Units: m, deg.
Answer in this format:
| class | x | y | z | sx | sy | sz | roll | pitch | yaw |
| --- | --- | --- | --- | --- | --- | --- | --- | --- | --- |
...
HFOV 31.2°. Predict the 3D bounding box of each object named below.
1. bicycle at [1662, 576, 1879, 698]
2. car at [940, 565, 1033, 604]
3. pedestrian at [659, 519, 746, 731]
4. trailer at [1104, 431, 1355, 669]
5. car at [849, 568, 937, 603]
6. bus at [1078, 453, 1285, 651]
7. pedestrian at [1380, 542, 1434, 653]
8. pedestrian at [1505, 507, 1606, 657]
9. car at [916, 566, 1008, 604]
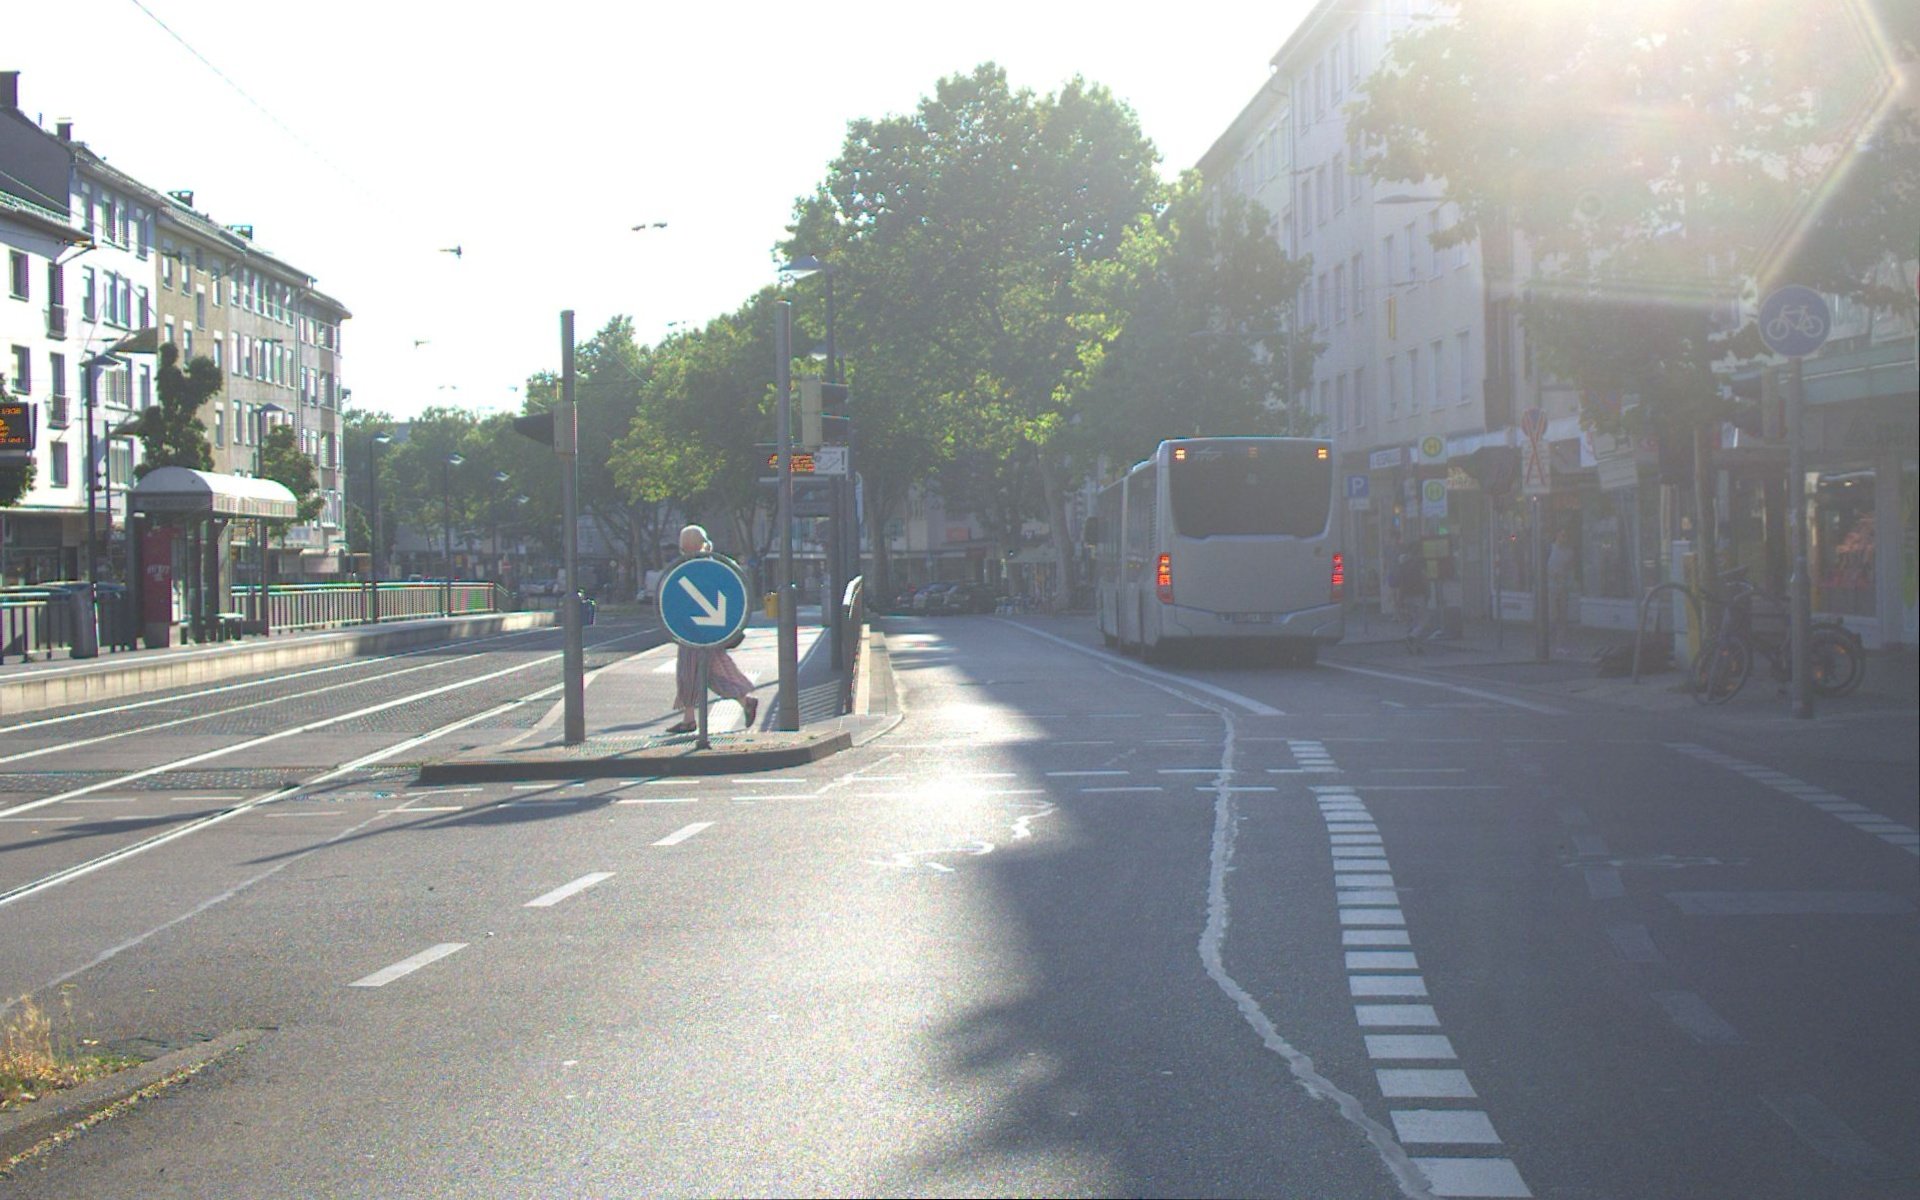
| class | x | y | z | sx | sy | sz | roll | pitch | yaw |
| --- | --- | --- | --- | --- | --- | --- | --- | --- | --- |
| bicycle | 7.378 | 0.332 | 31.325 | 1.772 | 1.018 | 0.694 | -2 | 1 | -1 |
| car | 1.233 | -0.719 | 158.607 | 3.889 | 1.693 | 1.833 | -2 | 1 | -29 |
| pedestrian | -2.168 | 0.205 | 28.956 | 0.680 | 1.764 | 0.687 | 0 | 1 | 0 |
| trailer | 3.764 | -0.720 | 50.029 | 2.812 | 3.100 | 8.795 | 1 | 1 | -1 |
| car | -3.243 | -0.691 | 166.407 | 3.889 | 1.591 | 1.691 | -2 | 1 | -29 |
| bus | 3.660 | -0.819 | 58.981 | 2.812 | 3.091 | 9.095 | 1 | 1 | -1 |
| pedestrian | 6.615 | -0.045 | 50.907 | 0.676 | 1.622 | 0.655 | 1 | 1 | 0 |
| pedestrian | 8.091 | -0.247 | 46.719 | 0.954 | 2.007 | 0.917 | 1 | 1 | -42 |
| car | 0.081 | -0.709 | 161.299 | 3.889 | 1.693 | 1.833 | -2 | 1 | -29 |
